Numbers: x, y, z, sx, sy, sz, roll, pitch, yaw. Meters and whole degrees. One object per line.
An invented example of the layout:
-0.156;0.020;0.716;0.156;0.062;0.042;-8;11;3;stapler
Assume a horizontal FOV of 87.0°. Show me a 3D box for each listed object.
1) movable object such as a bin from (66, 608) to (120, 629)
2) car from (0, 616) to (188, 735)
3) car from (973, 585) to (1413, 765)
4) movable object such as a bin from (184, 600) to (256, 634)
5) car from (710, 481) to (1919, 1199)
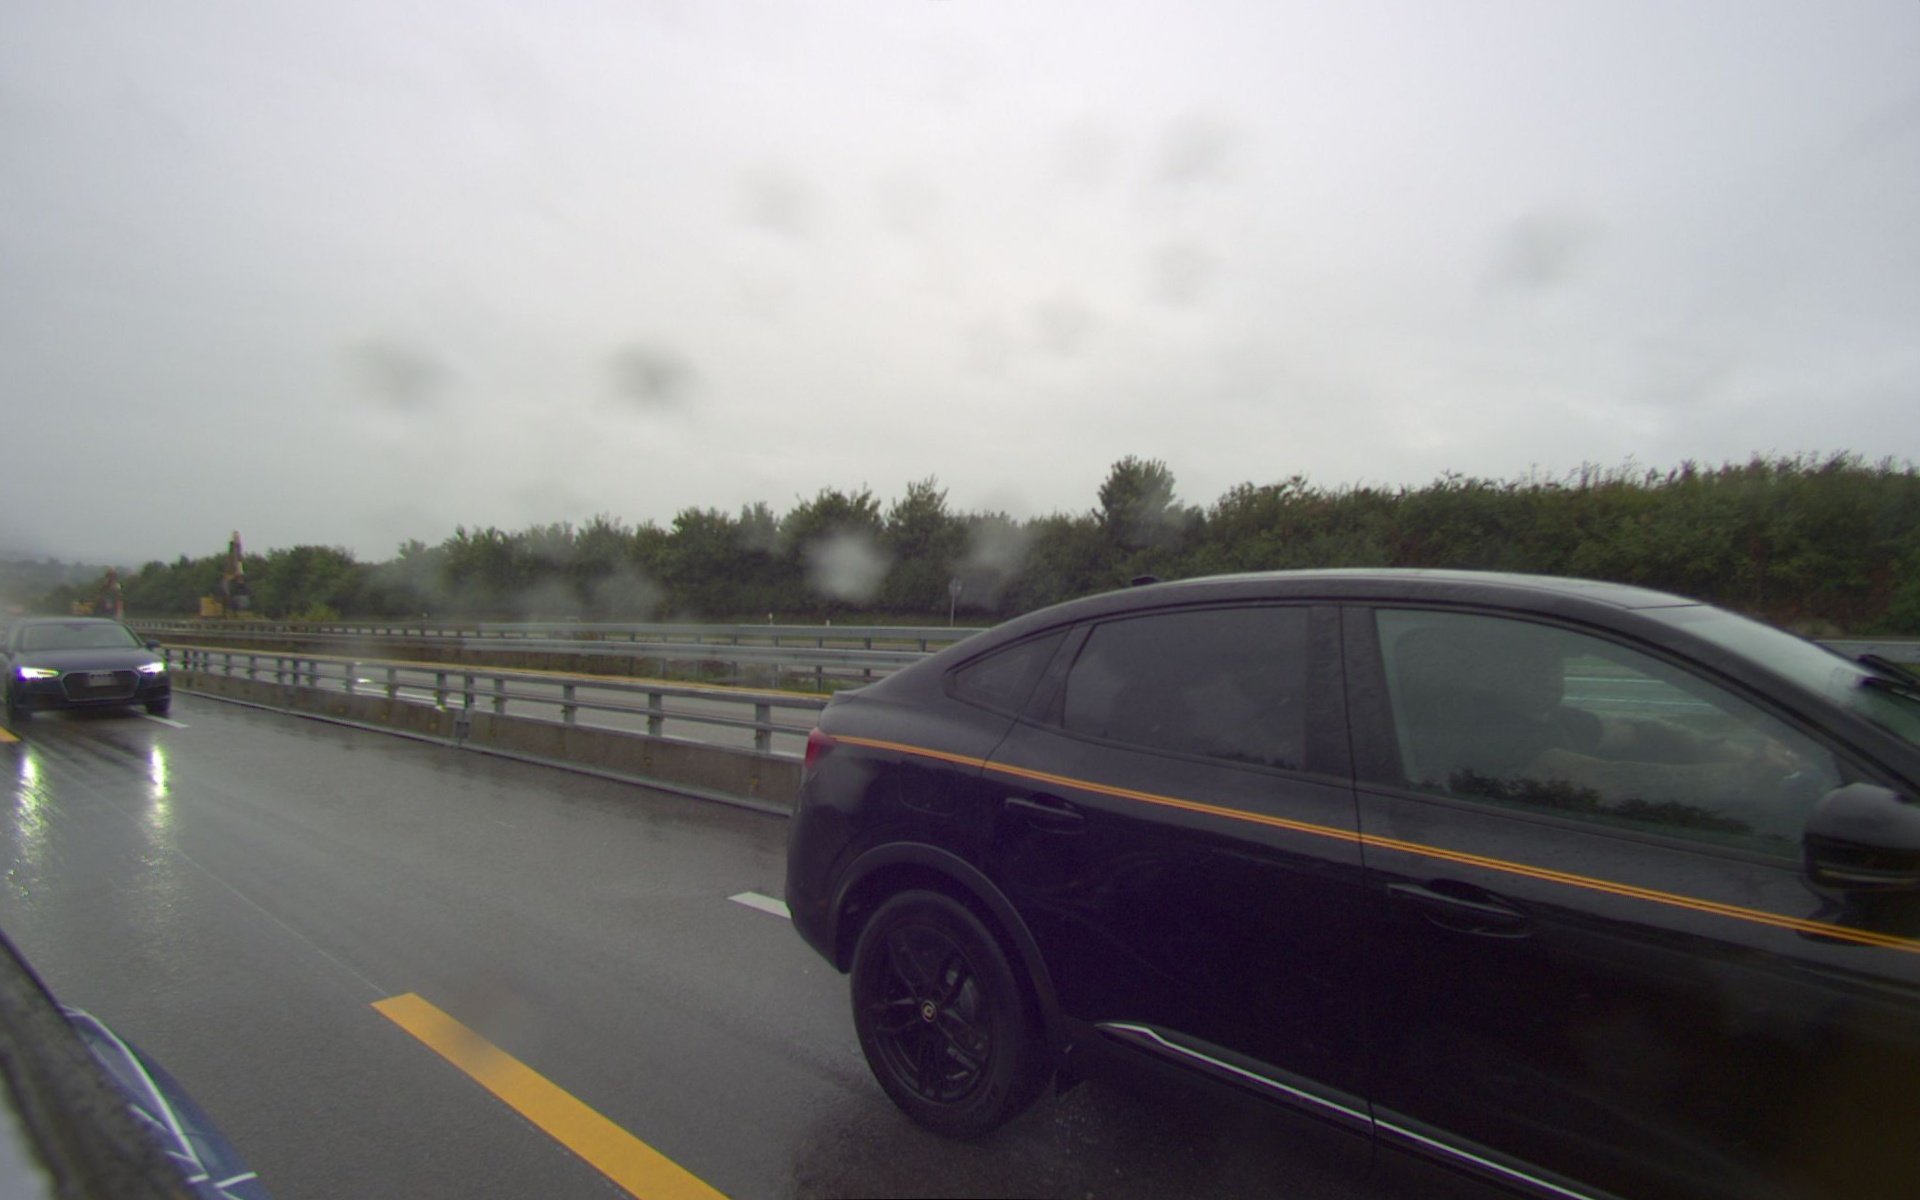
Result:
-97.235;2.058;113.476;5.087;2.312;3.410;-1;0;34;movable object such as a bin
-13.469;1.012;15.409;4.630;1.509;1.972;-1;0;43;car
2.292;0.644;10.591;4.128;1.514;1.828;-1;0;41;car
-64.499;1.467;88.206;6.326;2.819;3.727;-1;0;40;movable object such as a bin
1.483;0.633;2.578;4.412;1.597;1.973;-1;0;42;car
